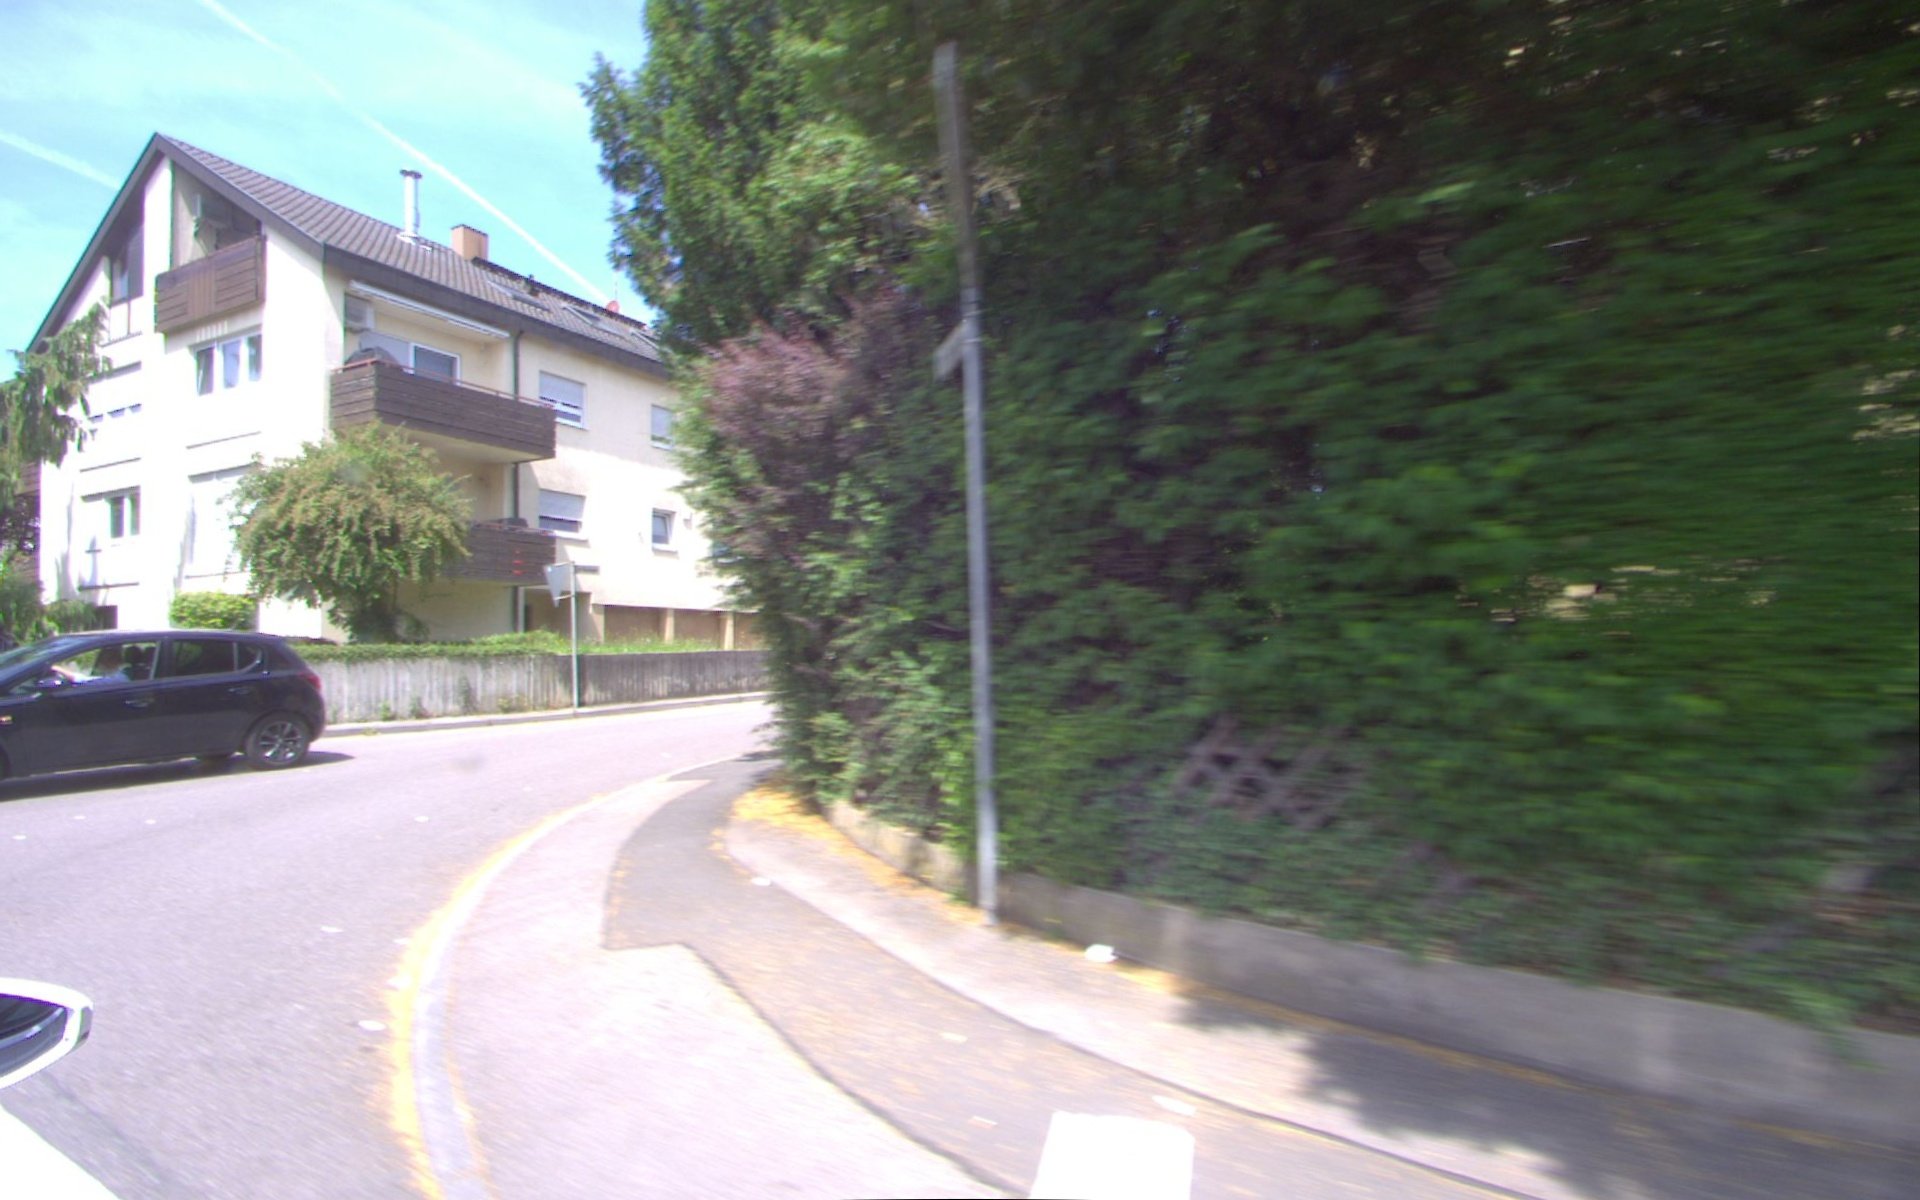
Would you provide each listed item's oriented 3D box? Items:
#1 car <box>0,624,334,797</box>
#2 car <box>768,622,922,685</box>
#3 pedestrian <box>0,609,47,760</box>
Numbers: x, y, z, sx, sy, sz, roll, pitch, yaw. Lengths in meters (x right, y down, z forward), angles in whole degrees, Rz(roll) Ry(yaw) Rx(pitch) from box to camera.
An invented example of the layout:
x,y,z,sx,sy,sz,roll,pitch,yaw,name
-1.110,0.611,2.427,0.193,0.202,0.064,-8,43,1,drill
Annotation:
x,y,z,sx,sy,sz,roll,pitch,yaw,name
-8.520,0.976,9.646,1.634,1.477,3.928,-1,-1,31,car
-3.322,1.539,28.881,3.936,1.682,1.995,0,-4,27,car
-10.883,0.946,11.376,0.690,1.693,0.565,1,-1,-39,pedestrian
